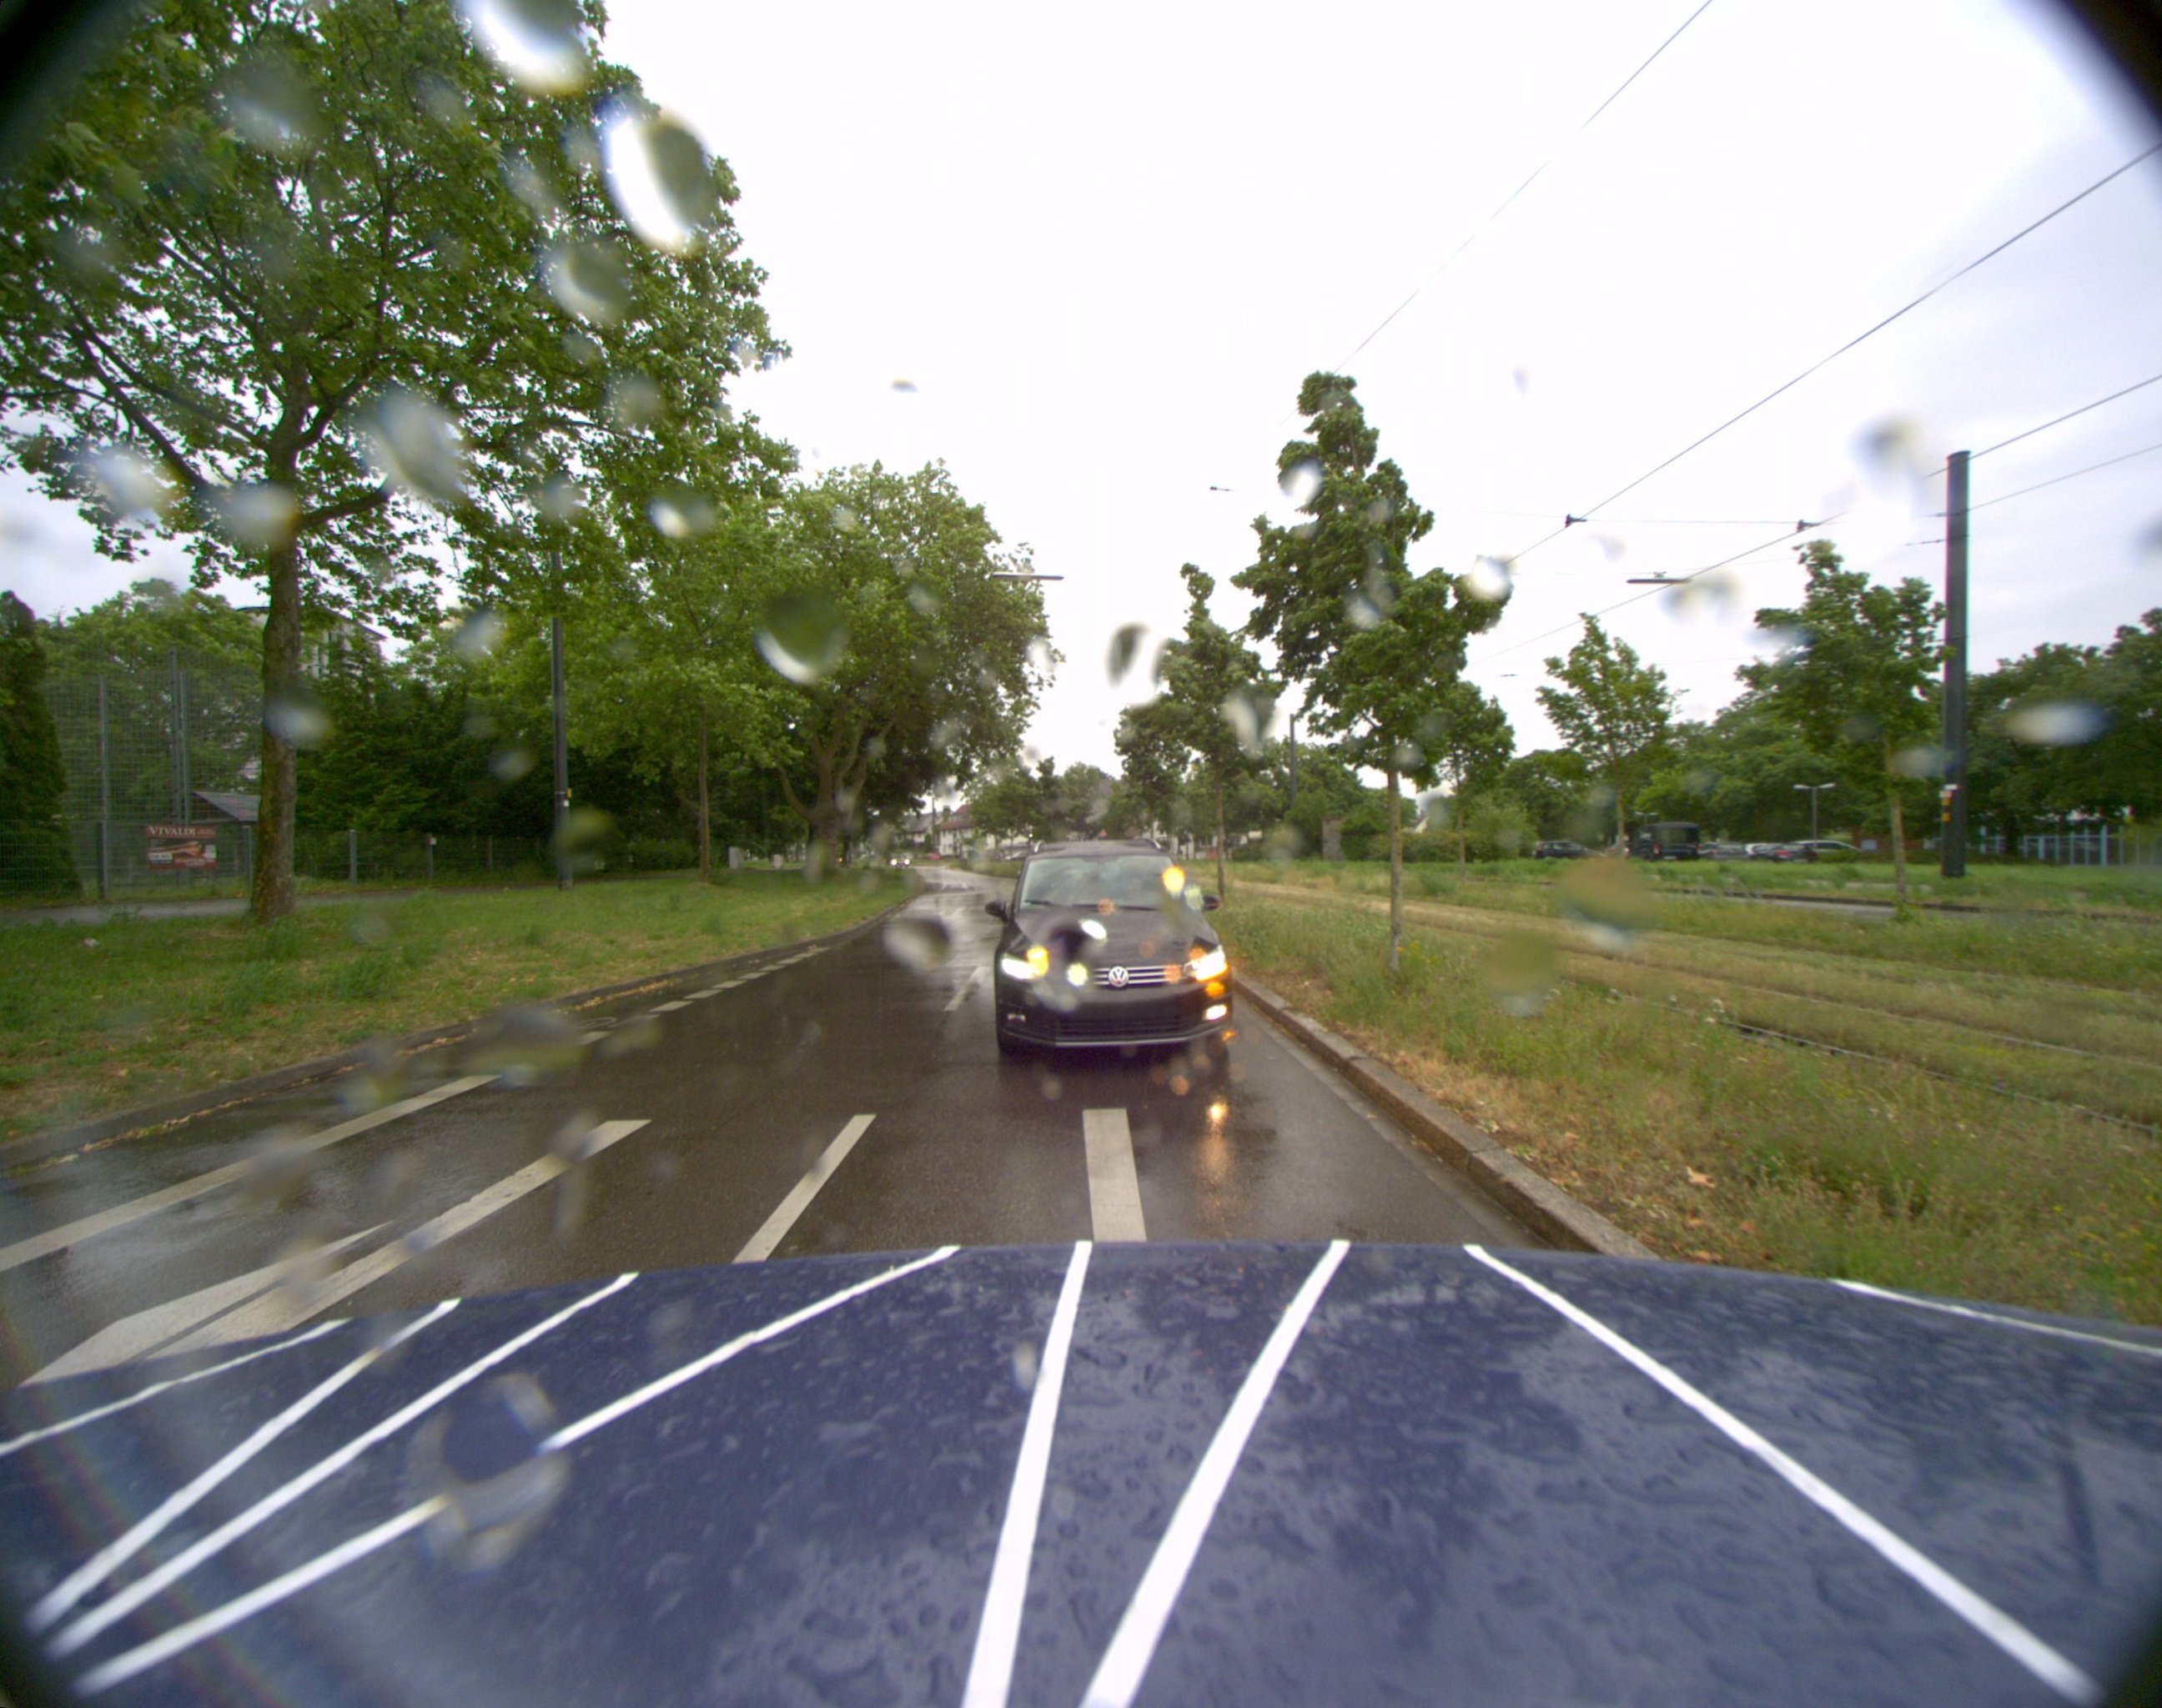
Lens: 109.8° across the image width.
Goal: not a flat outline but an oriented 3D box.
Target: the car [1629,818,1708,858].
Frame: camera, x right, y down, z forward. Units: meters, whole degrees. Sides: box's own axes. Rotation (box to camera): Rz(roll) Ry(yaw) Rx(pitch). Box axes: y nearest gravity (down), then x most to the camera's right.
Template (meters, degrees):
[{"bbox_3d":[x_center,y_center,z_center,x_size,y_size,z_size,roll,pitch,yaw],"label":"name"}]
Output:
[{"bbox_3d":[32.003,-0.882,41.578,2.307,2.002,5.125,-2,1,24],"label":"car"}]

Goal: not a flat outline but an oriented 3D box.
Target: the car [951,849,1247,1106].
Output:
[{"bbox_3d":[0.145,0.792,7.208,1.866,1.592,4.524,-2,1,1],"label":"car"}]

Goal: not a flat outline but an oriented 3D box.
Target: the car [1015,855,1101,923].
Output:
[{"bbox_3d":[-0.669,0.786,18.931,1.789,1.396,3.791,-2,1,-6],"label":"car"}]

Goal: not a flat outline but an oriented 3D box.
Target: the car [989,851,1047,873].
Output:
[{"bbox_3d":[-4.641,0.564,55.513,4.046,1.412,1.674,-2,1,-10],"label":"car"}]

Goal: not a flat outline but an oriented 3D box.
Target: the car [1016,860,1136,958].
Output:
[{"bbox_3d":[-0.137,0.861,13.607,1.788,1.355,3.996,-2,1,-2],"label":"car"}]

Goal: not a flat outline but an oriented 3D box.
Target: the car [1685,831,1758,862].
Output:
[{"bbox_3d":[34.647,-0.432,41.262,1.752,1.522,4.856,-2,1,24],"label":"car"}]

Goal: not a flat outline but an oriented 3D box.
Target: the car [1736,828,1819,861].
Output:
[{"bbox_3d":[36.558,-0.517,40.048,2.057,1.564,5.024,-2,1,29],"label":"car"}]

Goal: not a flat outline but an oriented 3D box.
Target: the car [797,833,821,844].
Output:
[{"bbox_3d":[-51.527,-2.965,143.906,4.004,1.816,1.996,-3,1,-24],"label":"car"}]

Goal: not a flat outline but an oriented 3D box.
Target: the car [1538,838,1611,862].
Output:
[{"bbox_3d":[34.777,-0.288,53.679,4.172,1.474,1.786,-2,1,27],"label":"car"}]

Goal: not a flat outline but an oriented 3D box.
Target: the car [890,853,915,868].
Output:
[{"bbox_3d":[-19.932,0.690,84.913,1.876,1.608,3.801,-3,1,-25],"label":"car"}]
